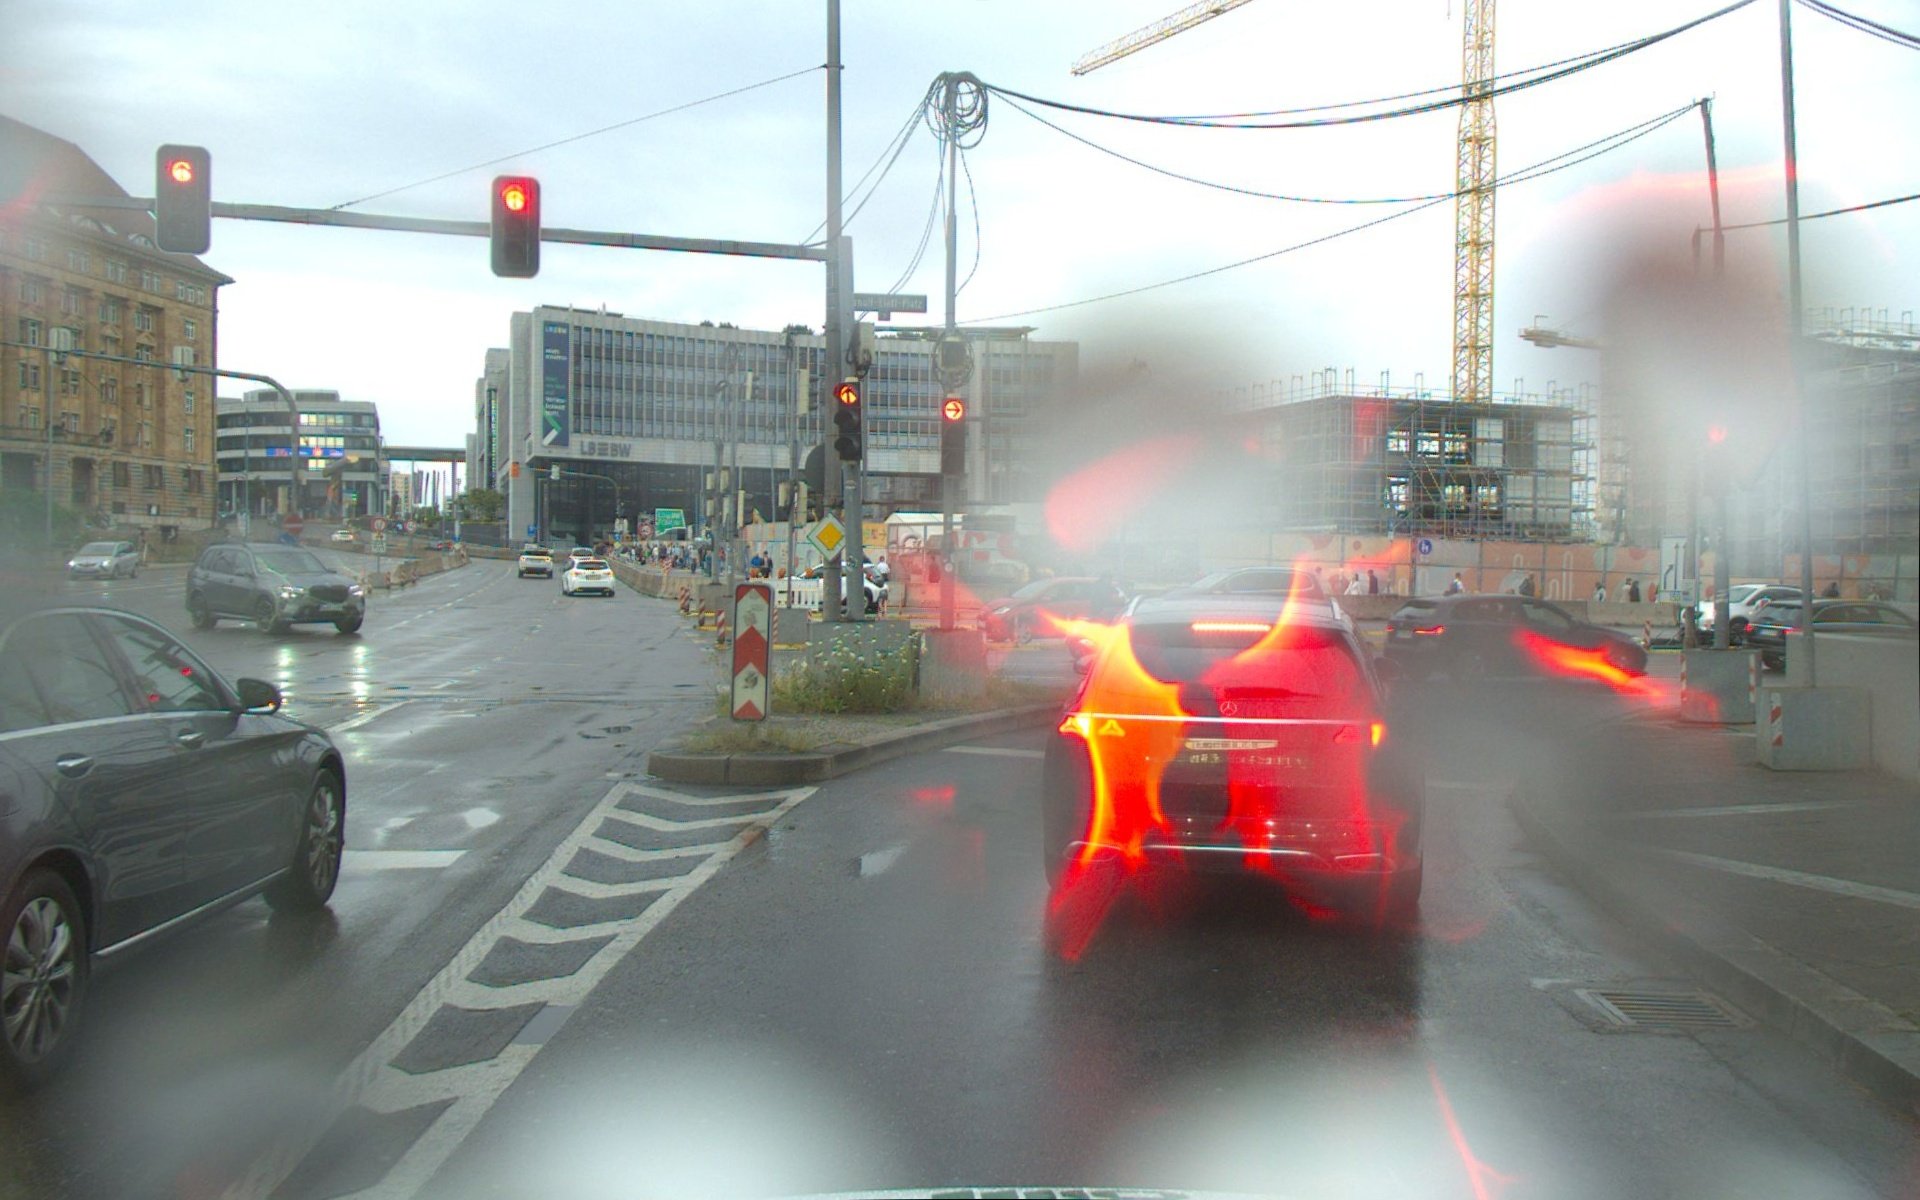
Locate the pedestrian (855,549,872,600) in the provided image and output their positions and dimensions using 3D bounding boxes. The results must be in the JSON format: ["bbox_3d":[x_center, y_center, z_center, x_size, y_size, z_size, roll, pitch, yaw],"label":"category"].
[{"bbox_3d":[-3.668,-0.959,62.751,0.359,1.931,0.568,2,-1,-40],"label":"pedestrian"}]

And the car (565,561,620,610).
[{"bbox_3d":[-14.153,-0.532,63.847,1.959,1.797,4.405,1,-1,-12],"label":"car"}]

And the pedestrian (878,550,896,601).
[{"bbox_3d":[-2.804,-0.933,63.377,0.359,1.931,0.567,2,-1,-43],"label":"pedestrian"}]

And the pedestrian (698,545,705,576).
[{"bbox_3d":[-16.449,-2.497,105.190,0.355,1.931,0.574,1,-1,-17],"label":"pedestrian"}]

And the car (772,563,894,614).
[{"bbox_3d":[-4.014,-0.364,52.535,3.472,1.499,1.787,1,-1,14],"label":"car"}]

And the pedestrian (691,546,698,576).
[{"bbox_3d":[-16.870,-2.475,105.068,0.355,1.931,0.574,1,-1,-17],"label":"pedestrian"}]

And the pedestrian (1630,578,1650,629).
[{"bbox_3d":[25.760,0.143,62.673,0.564,1.931,0.361,1,-1,-12],"label":"pedestrian"}]

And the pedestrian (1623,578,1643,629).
[{"bbox_3d":[25.702,0.147,63.160,0.564,1.931,0.361,1,-1,-12],"label":"pedestrian"}]

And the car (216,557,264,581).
[{"bbox_3d":[-41.827,-1.780,96.170,1.736,1.282,3.988,1,-1,-11],"label":"car"}]

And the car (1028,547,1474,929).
[{"bbox_3d":[1.517,0.598,9.053,1.851,1.571,3.996,1,-1,8],"label":"car"}]

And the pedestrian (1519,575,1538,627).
[{"bbox_3d":[21.164,0.027,61.590,0.564,1.931,0.361,1,-1,-10],"label":"pedestrian"}]

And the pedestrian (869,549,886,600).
[{"bbox_3d":[-3.139,-0.958,63.078,0.567,1.931,0.360,0,0,45],"label":"pedestrian"}]

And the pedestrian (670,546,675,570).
[{"bbox_3d":[-23.372,-3.420,134.427,0.355,1.931,0.574,1,-1,-17],"label":"pedestrian"}]

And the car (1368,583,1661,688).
[{"bbox_3d":[8.867,0.566,26.604,4.025,1.533,1.995,1,-1,-11],"label":"car"}]

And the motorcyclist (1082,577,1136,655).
[{"bbox_3d":[2.704,0.291,30.103,0.925,1.382,0.850,1,-1,4],"label":"motorcyclist"}]

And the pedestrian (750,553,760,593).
[{"bbox_3d":[-10.051,-1.328,81.133,0.356,1.931,0.573,2,-1,-21],"label":"pedestrian"}]

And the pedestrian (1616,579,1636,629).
[{"bbox_3d":[25.636,0.149,63.648,0.564,1.931,0.361,1,-1,-12],"label":"pedestrian"}]

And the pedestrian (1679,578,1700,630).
[{"bbox_3d":[27.016,0.150,61.241,0.564,1.931,0.361,1,-1,-10],"label":"pedestrian"}]

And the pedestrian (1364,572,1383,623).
[{"bbox_3d":[15.614,-0.091,62.424,0.564,1.931,0.361,1,-1,-10],"label":"pedestrian"}]

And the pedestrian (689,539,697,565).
[{"bbox_3d":[-20.300,-3.619,125.807,0.511,1.931,0.574,1,-1,-17],"label":"pedestrian"}]

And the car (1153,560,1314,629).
[{"bbox_3d":[7.523,-0.124,45.660,3.921,1.764,1.992,1,-1,-15],"label":"car"}]

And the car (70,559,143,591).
[{"bbox_3d":[-37.522,-1.085,72.789,1.736,1.282,4.182,1,-1,-11],"label":"car"}]

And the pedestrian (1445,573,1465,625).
[{"bbox_3d":[18.400,-0.037,61.493,0.564,1.931,0.361,1,-1,-10],"label":"pedestrian"}]

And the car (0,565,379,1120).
[{"bbox_3d":[-3.584,0.626,5.931,1.748,1.427,4.482,1,1,-5],"label":"car"}]

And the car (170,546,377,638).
[{"bbox_3d":[-14.677,-0.165,35.238,5.008,1.829,1.989,1,-1,40],"label":"car"}]

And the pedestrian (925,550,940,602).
[{"bbox_3d":[-1.029,-0.904,62.094,0.356,1.931,0.573,2,-1,-21],"label":"pedestrian"}]

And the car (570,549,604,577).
[{"bbox_3d":[-24.711,-2.430,109.452,1.703,1.668,3.414,2,3,-21],"label":"car"}]

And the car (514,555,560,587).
[{"bbox_3d":[-24.031,-1.622,93.873,1.967,1.669,3.971,2,-1,-23],"label":"car"}]

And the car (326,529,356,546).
[{"bbox_3d":[-74.666,-7.544,199.503,1.983,1.847,3.938,2,-1,-43],"label":"car"}]

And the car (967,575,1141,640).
[{"bbox_3d":[2.058,0.168,36.544,3.479,1.327,1.657,1,-1,-18],"label":"car"}]

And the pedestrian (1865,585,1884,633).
[{"bbox_3d":[37.261,0.369,67.397,0.564,1.931,0.361,1,-1,-10],"label":"pedestrian"}]

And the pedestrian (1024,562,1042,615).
[{"bbox_3d":[2.704,-0.410,60.858,0.562,1.931,0.362,1,-1,14],"label":"pedestrian"}]

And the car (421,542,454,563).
[{"bbox_3d":[-54.097,-4.942,171.134,1.980,2.049,3.945,2,-1,-38],"label":"car"}]

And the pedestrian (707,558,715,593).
[{"bbox_3d":[-13.808,-1.378,91.757,0.355,1.931,0.574,1,-1,-17],"label":"pedestrian"}]

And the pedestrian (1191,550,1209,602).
[{"bbox_3d":[8.905,-0.894,61.432,0.563,1.931,0.362,1,-1,-4],"label":"pedestrian"}]

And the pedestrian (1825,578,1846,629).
[{"bbox_3d":[33.197,0.128,62.711,0.564,1.931,0.361,1,-1,-10],"label":"pedestrian"}]

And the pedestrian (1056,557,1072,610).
[{"bbox_3d":[3.819,-0.591,60.690,0.563,1.931,0.362,1,-1,1],"label":"pedestrian"}]

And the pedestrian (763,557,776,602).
[{"bbox_3d":[-8.398,-0.903,72.910,0.356,1.931,0.572,2,-1,-25],"label":"pedestrian"}]

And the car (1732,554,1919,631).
[{"bbox_3d":[17.469,-0.119,32.153,4.021,1.368,1.997,1,-1,-7],"label":"car"}]

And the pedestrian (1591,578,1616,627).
[{"bbox_3d":[25.607,0.106,65.831,0.644,1.934,0.630,1,-1,-13],"label":"pedestrian"}]

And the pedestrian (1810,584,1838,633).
[{"bbox_3d":[34.293,0.343,65.655,0.784,1.931,0.564,1,-1,-14],"label":"pedestrian"}]

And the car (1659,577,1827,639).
[{"bbox_3d":[21.676,0.225,45.822,3.978,1.579,1.990,1,-1,-19],"label":"car"}]

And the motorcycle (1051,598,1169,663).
[{"bbox_3d":[2.719,0.552,30.069,2.091,1.128,0.851,1,-1,4],"label":"motorcycle"}]

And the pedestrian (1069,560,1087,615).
[{"bbox_3d":[4.225,-0.440,59.367,0.563,1.931,0.362,1,-1,-7],"label":"pedestrian"}]

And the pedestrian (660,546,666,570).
[{"bbox_3d":[-24.104,-3.434,134.208,0.355,1.931,0.574,1,-1,-17],"label":"pedestrian"}]

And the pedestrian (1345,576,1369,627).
[{"bbox_3d":[15.124,0.050,63.042,0.644,1.934,0.630,1,-1,-13],"label":"pedestrian"}]
